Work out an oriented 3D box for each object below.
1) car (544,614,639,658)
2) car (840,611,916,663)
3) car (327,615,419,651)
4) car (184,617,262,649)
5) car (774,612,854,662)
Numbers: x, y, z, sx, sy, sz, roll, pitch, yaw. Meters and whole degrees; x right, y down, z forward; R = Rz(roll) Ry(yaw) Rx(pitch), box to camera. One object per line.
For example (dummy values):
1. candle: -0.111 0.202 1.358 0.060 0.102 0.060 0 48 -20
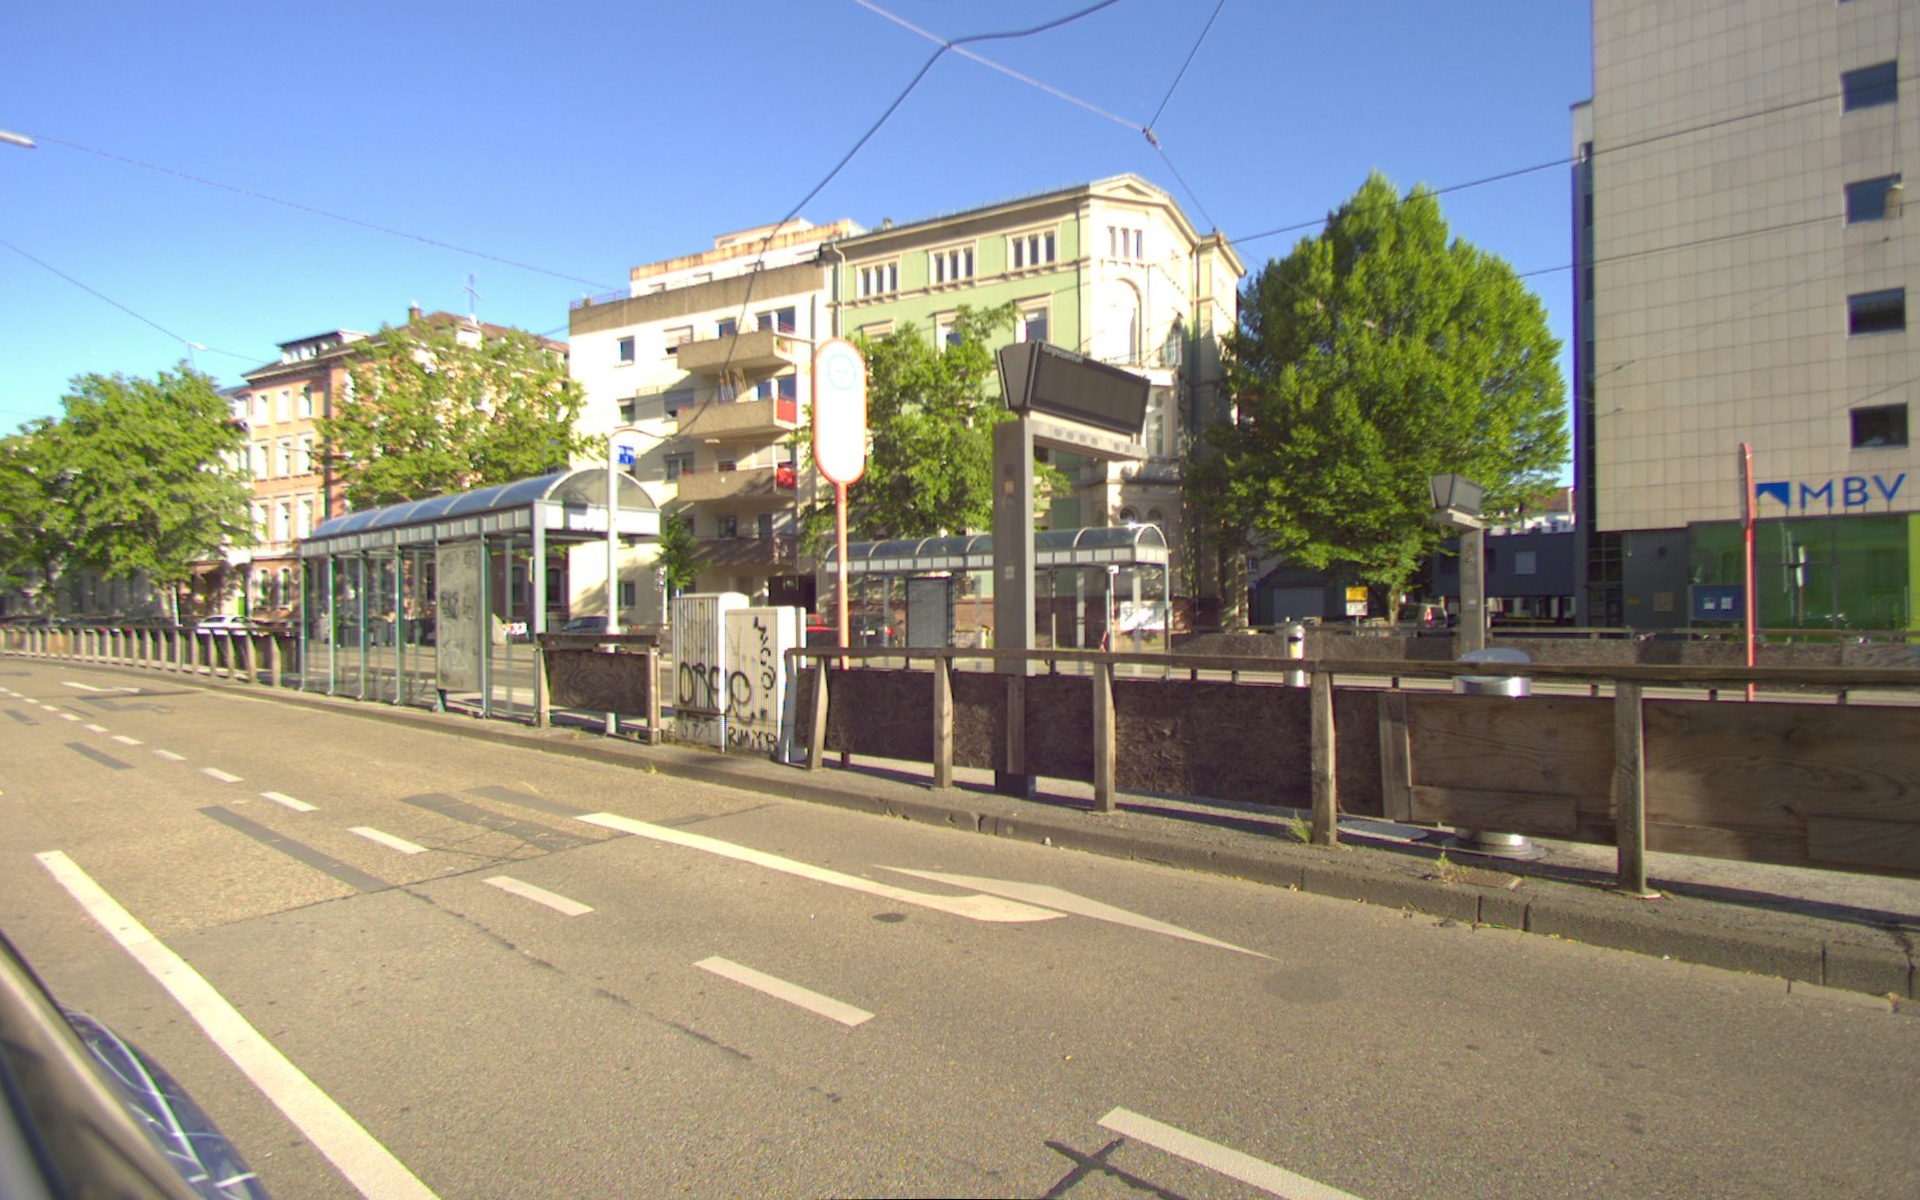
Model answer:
1. car: -14.040 1.334 38.517 3.592 1.579 1.612 -1 0 35
2. car: -2.655 1.187 33.369 1.614 1.579 3.588 -1 0 11
3. car: -28.405 1.558 49.054 1.626 1.579 3.560 -1 0 33
4. car: -39.405 1.737 54.212 1.607 1.579 3.601 -1 0 -2
5. car: -4.927 1.216 34.565 1.614 1.579 3.588 -1 0 11
